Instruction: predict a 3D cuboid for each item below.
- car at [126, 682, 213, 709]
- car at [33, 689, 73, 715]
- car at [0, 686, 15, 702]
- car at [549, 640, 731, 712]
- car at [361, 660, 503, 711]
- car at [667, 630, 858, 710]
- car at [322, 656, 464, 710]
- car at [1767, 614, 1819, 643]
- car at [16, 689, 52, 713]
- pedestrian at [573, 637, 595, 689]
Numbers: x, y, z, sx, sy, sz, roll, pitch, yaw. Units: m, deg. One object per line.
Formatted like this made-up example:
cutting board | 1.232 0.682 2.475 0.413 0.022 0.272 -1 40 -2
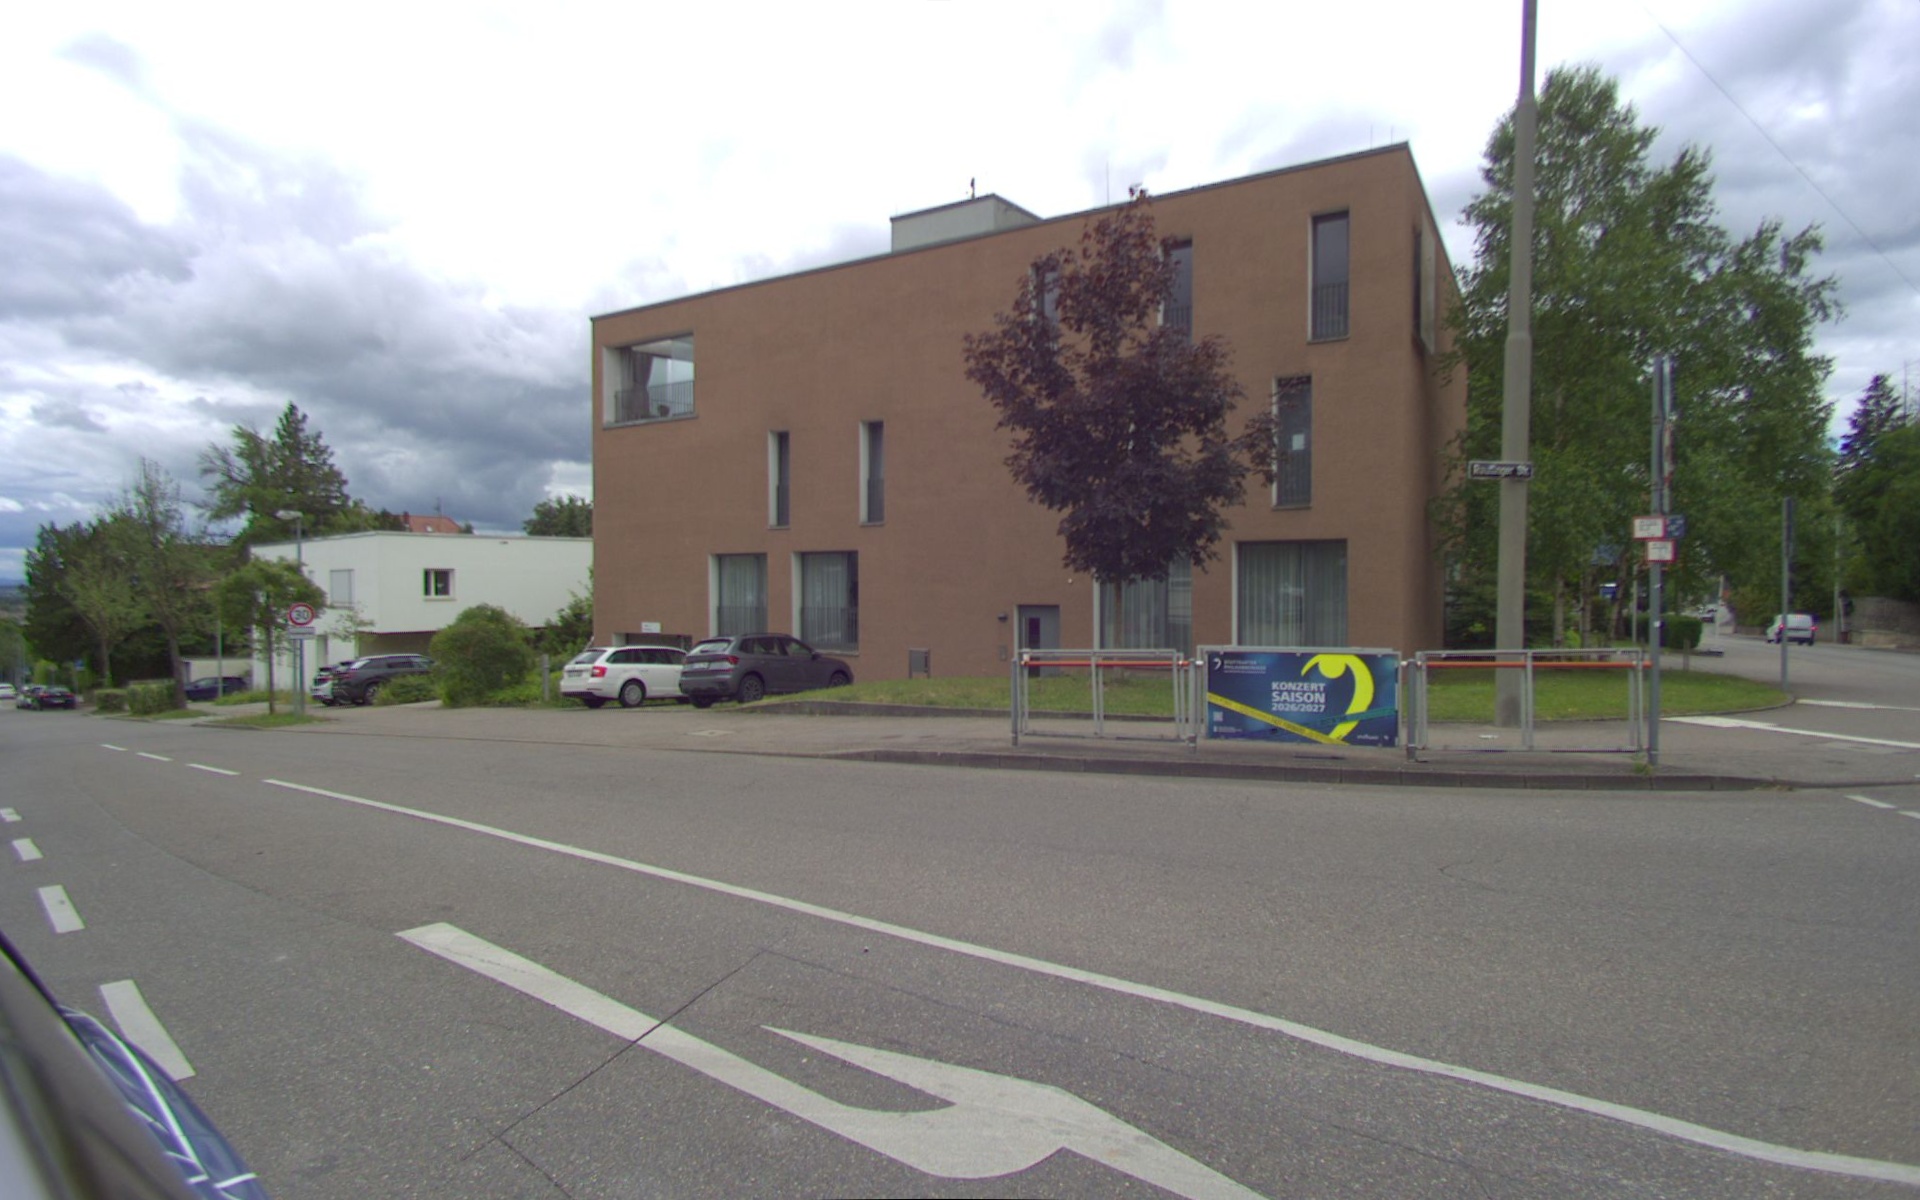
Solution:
car | -46.951 5.656 60.172 3.940 1.296 1.664 0 -4 -43
car | -54.917 6.160 61.240 1.638 1.432 4.002 0 -4 -44
car | -96.188 9.396 101.200 4.361 1.432 1.861 -3 -3 38
car | -7.706 1.811 24.662 1.723 1.497 3.951 -5 -4 36
car | -18.013 2.897 34.606 1.726 1.497 3.944 -6 -4 42
car | -4.214 1.481 22.108 1.723 1.497 3.951 -5 -4 36
car | -19.763 2.878 35.380 1.793 1.608 3.944 -6 -4 42
car | 50.902 1.716 61.933 1.806 1.724 3.994 -1 -2 30
car | -61.582 6.690 67.263 1.638 1.432 4.370 0 -4 -44
pedestrian | -14.211 2.360 38.246 0.558 1.922 0.590 -3 -2 41
